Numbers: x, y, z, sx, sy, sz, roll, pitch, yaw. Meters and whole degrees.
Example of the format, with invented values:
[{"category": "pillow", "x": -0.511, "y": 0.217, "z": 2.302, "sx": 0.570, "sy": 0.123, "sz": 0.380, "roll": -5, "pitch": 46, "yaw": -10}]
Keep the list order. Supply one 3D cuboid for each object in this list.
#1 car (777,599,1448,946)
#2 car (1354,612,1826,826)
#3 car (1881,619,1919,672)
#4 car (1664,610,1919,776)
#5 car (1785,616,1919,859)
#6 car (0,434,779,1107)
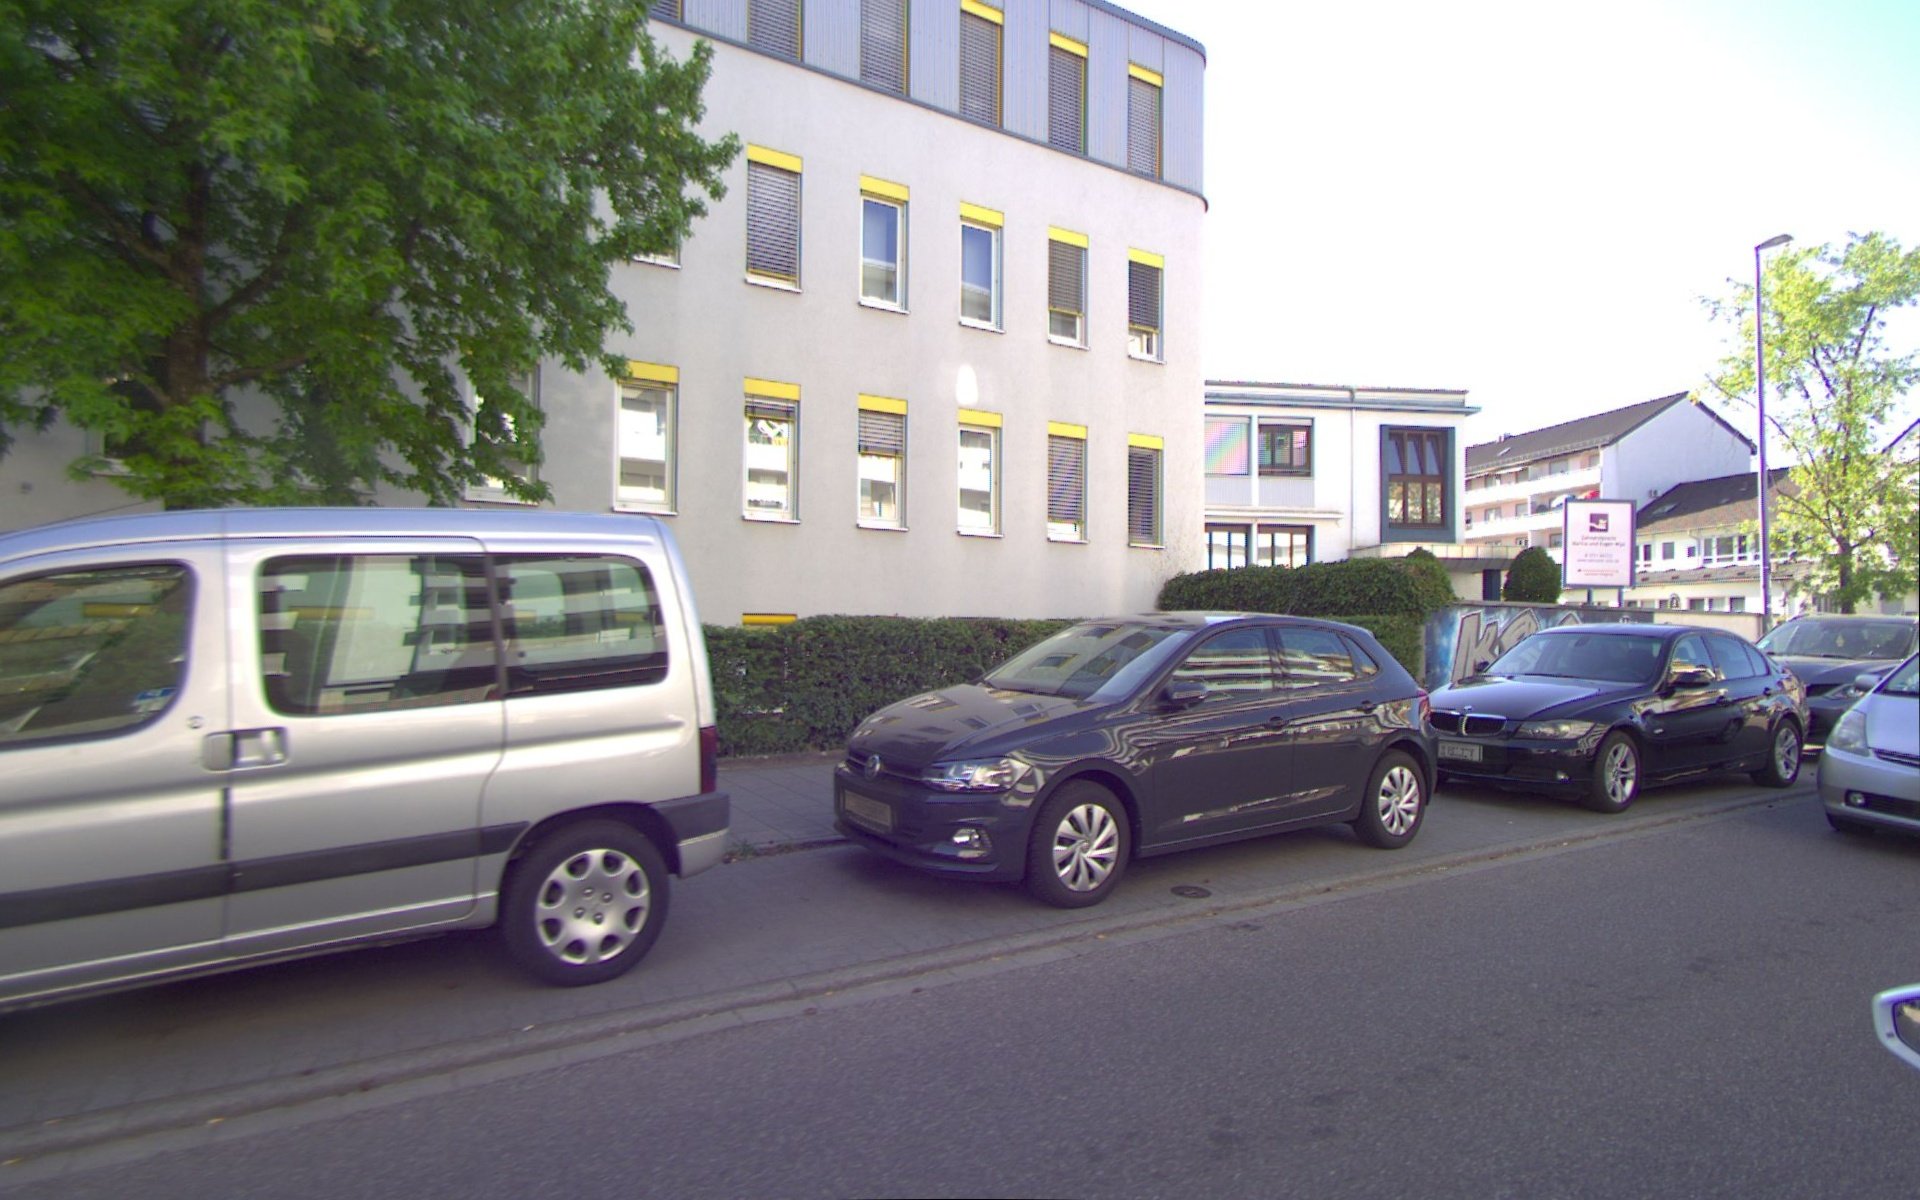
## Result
[{"category": "car", "x": 1.068, "y": 0.784, "z": 6.013, "sx": 3.959, "sy": 1.459, "sz": 1.588, "roll": 2, "pitch": -1, "yaw": -34}, {"category": "car", "x": 5.630, "y": 0.879, "z": 8.836, "sx": 4.387, "sy": 1.484, "sz": 1.718, "roll": 1, "pitch": -1, "yaw": -31}, {"category": "car", "x": 30.763, "y": 1.469, "z": 31.071, "sx": 3.130, "sy": 1.576, "sz": 1.804, "roll": 3, "pitch": -3, "yaw": -8}, {"category": "car", "x": 10.179, "y": 0.956, "z": 11.609, "sx": 4.369, "sy": 1.607, "sz": 1.711, "roll": 1, "pitch": -1, "yaw": -31}, {"category": "car", "x": 7.789, "y": 0.889, "z": 7.130, "sx": 4.058, "sy": 1.505, "sz": 1.718, "roll": 1, "pitch": -1, "yaw": -31}, {"category": "car", "x": -2.977, "y": 0.486, "z": 3.583, "sx": 4.296, "sy": 1.863, "sz": 1.677, "roll": 1, "pitch": -1, "yaw": -34}]
